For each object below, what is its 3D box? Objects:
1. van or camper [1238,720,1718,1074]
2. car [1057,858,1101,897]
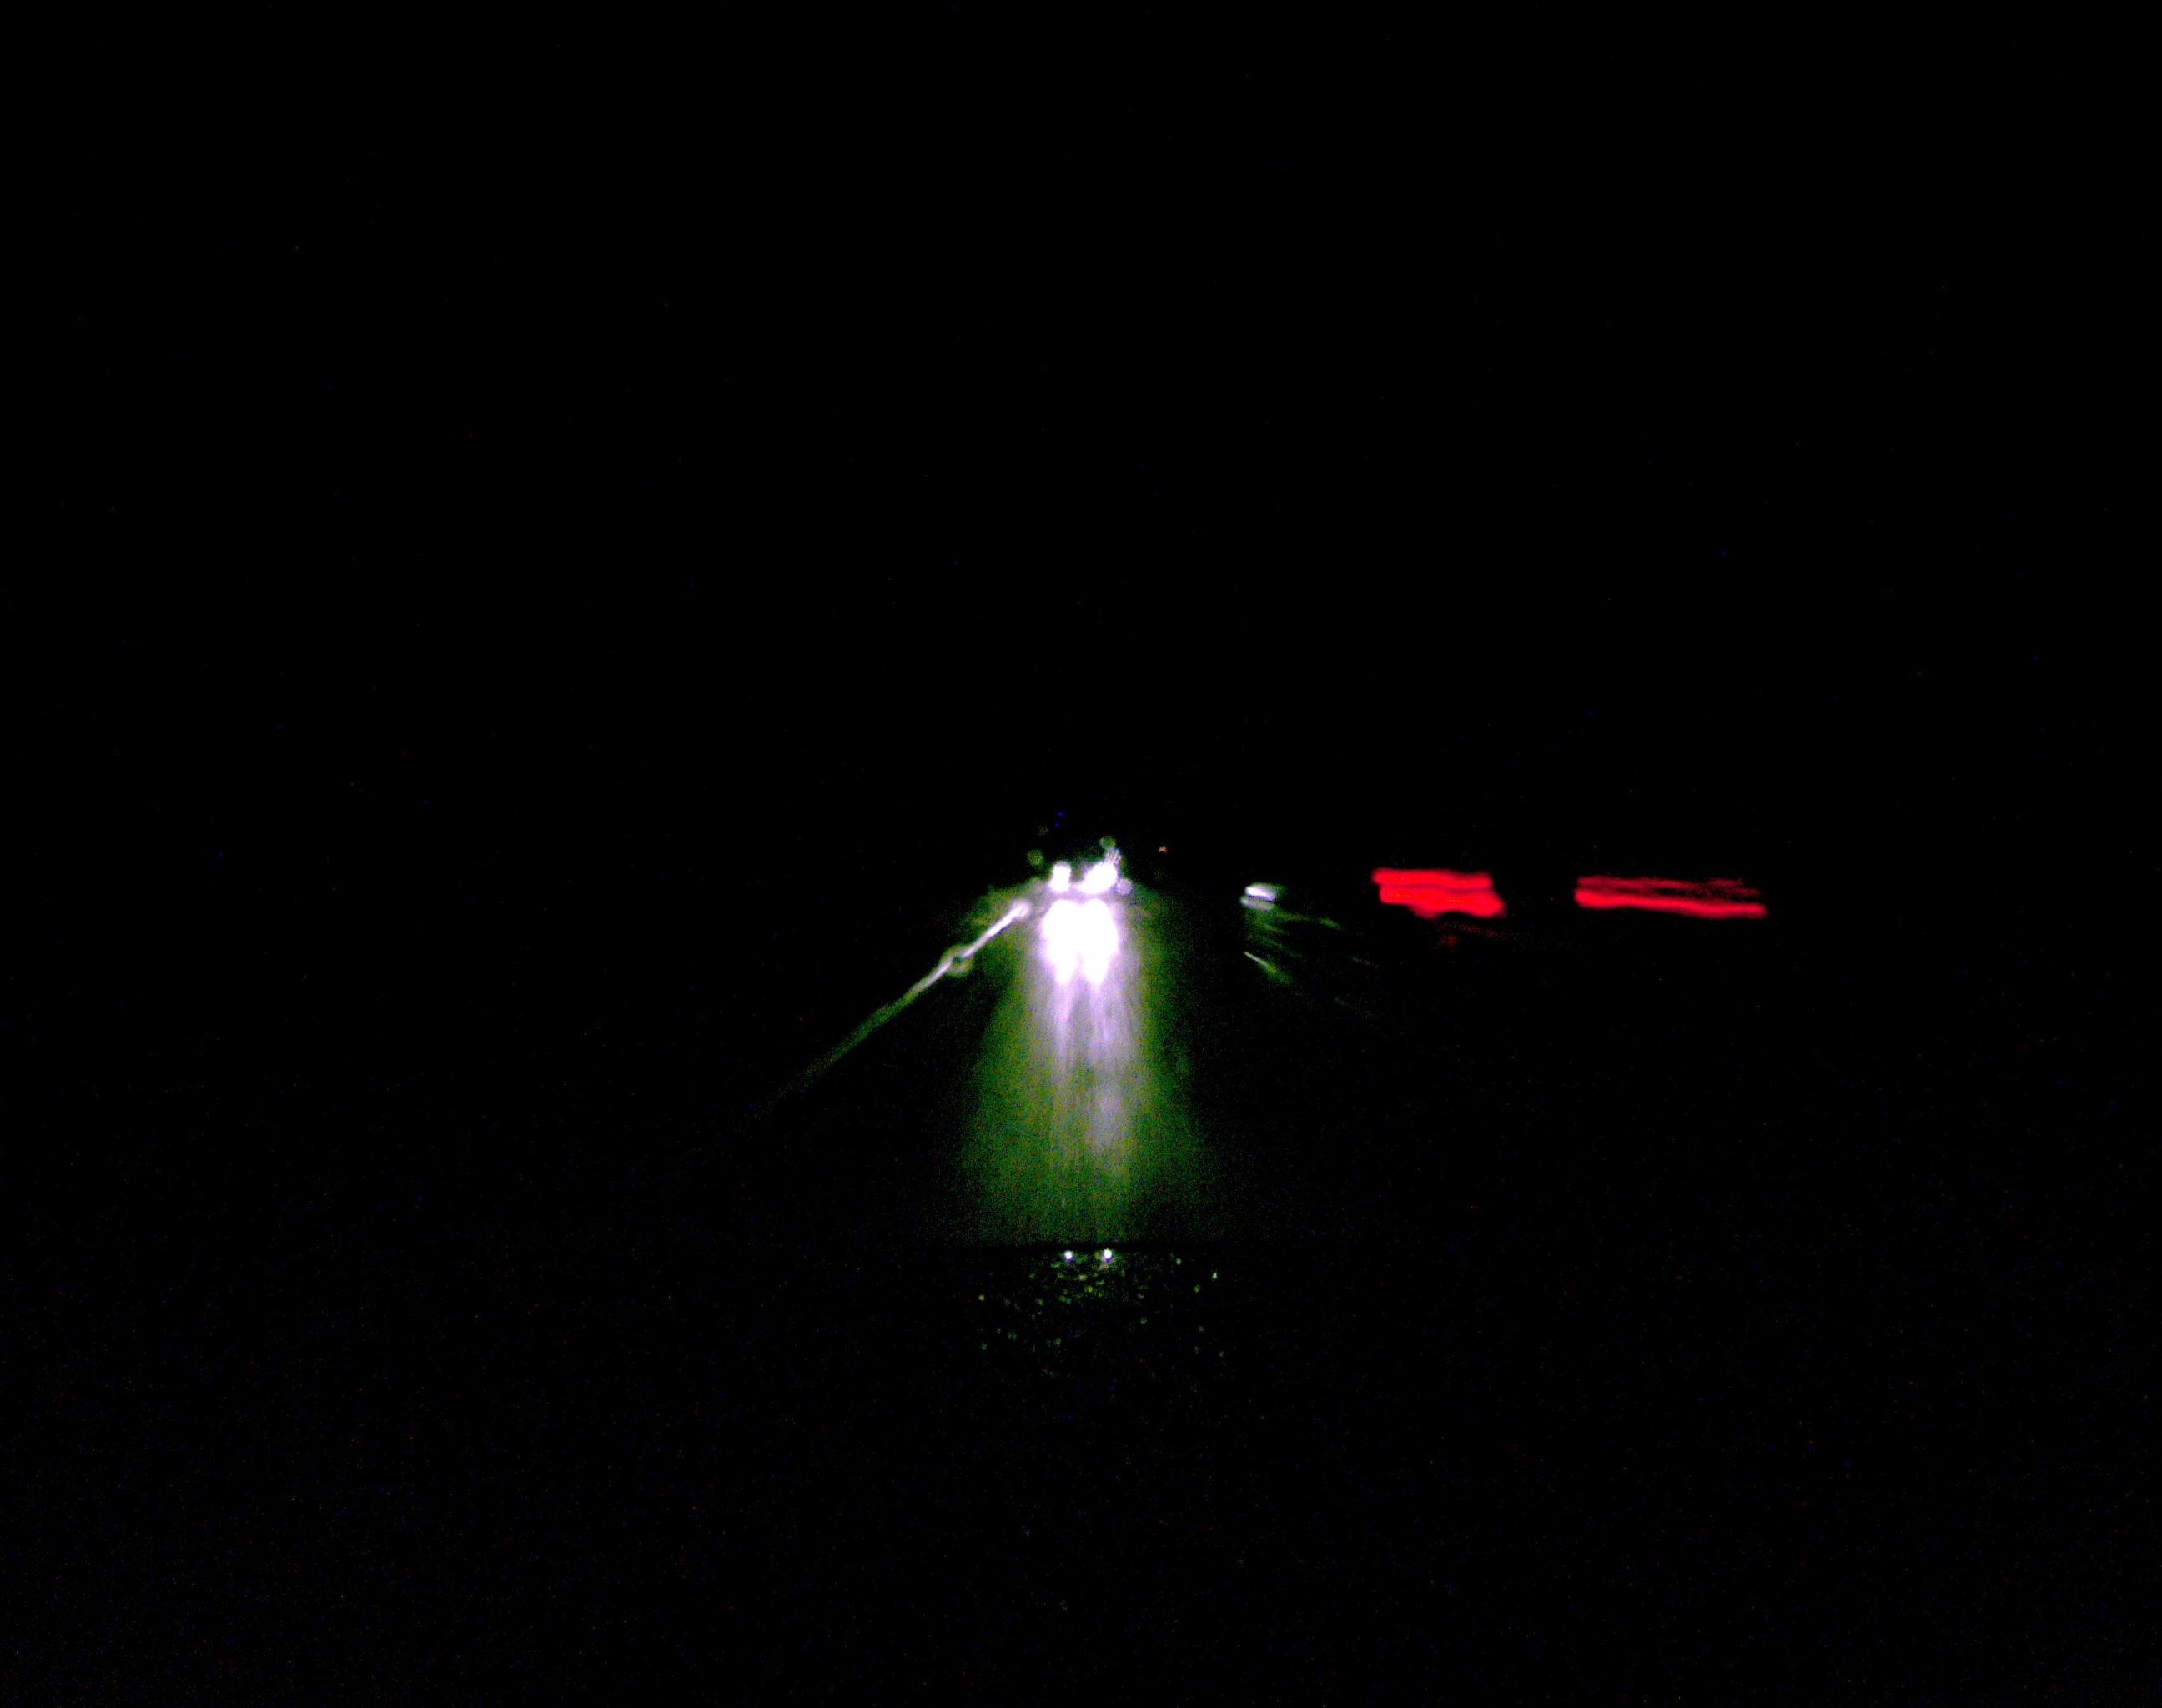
[{"bbox_3d":[3.479,0.325,8.393,2.129,2.550,5.783,1,0,-2],"label":"van or camper"},{"bbox_3d":[-0.056,1.008,33.682,1.793,1.593,4.000,-1,-1,1],"label":"car"}]
